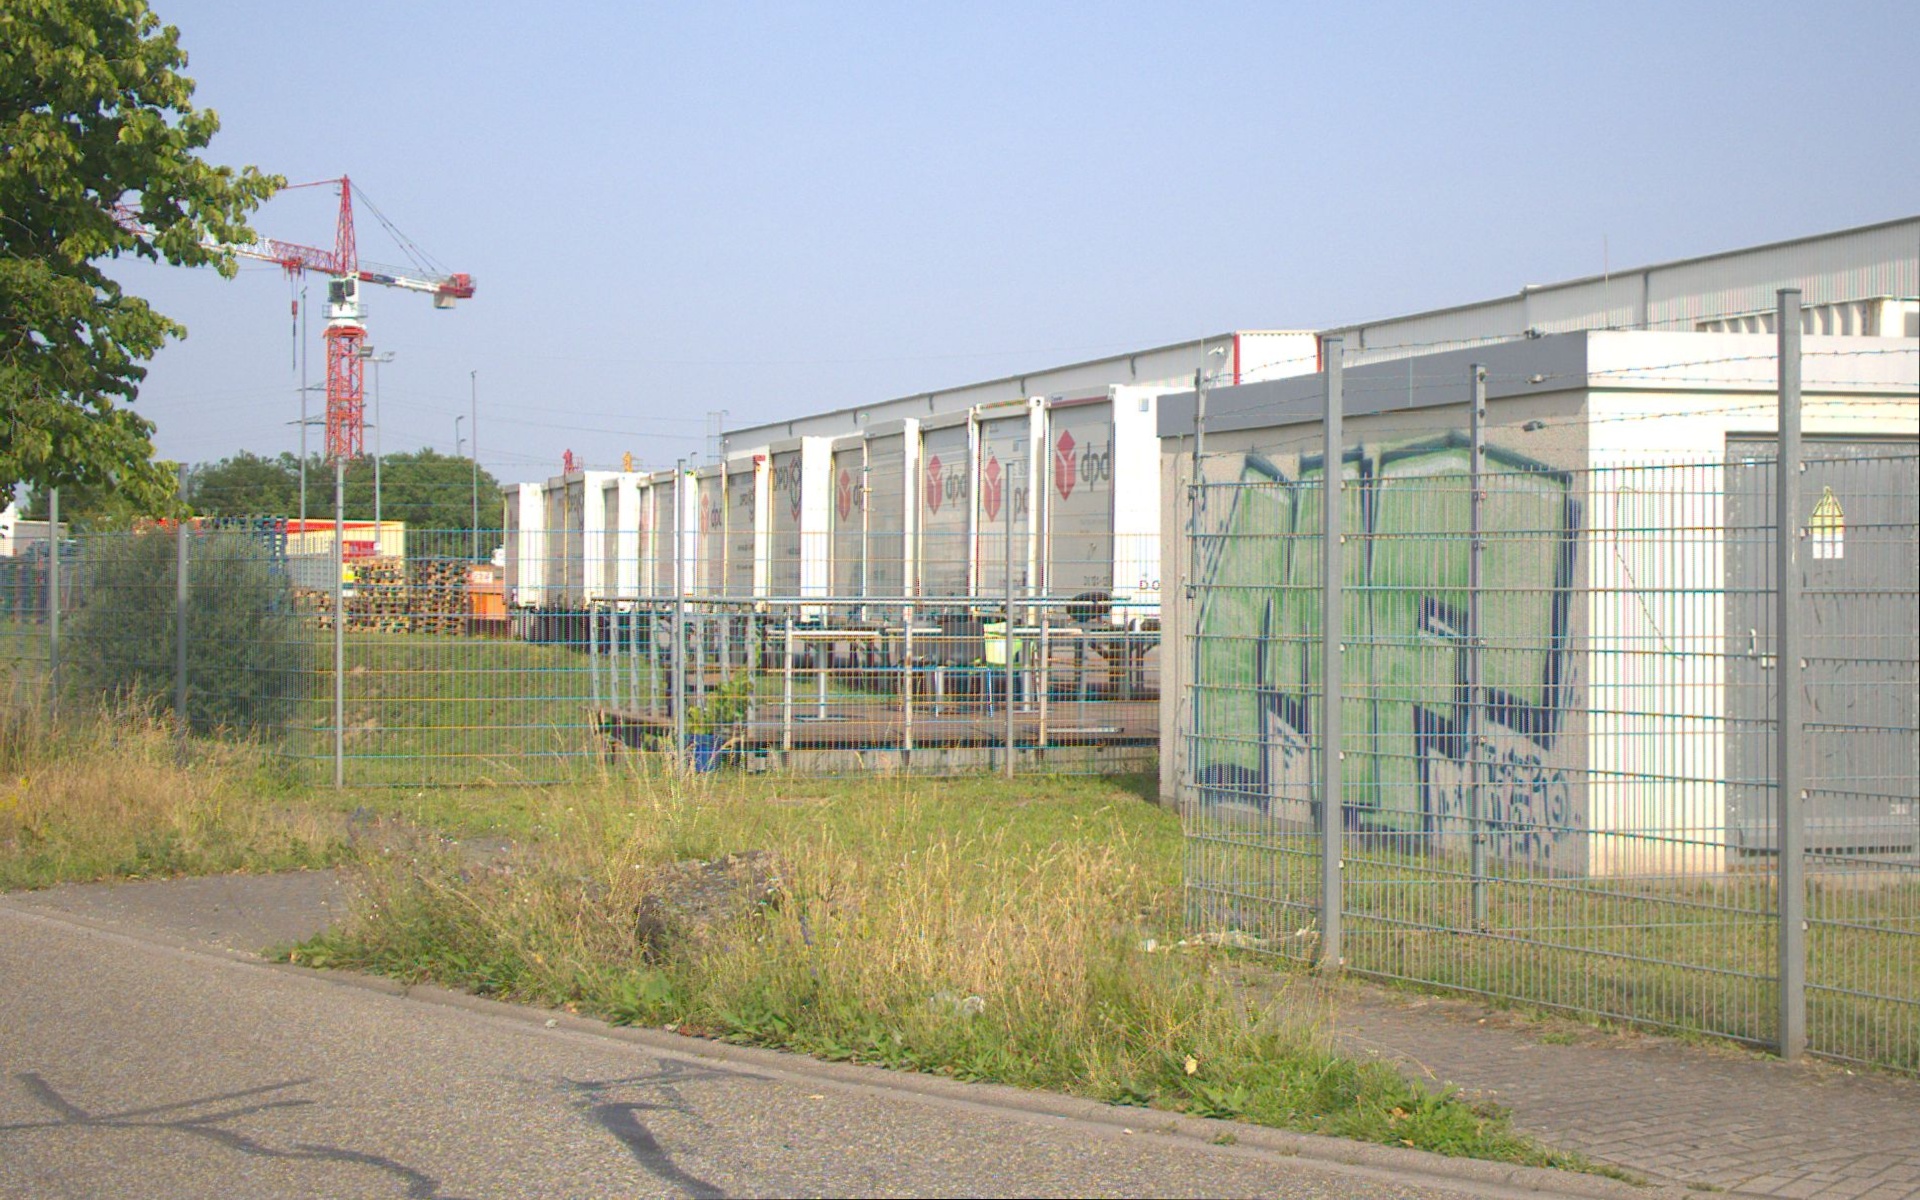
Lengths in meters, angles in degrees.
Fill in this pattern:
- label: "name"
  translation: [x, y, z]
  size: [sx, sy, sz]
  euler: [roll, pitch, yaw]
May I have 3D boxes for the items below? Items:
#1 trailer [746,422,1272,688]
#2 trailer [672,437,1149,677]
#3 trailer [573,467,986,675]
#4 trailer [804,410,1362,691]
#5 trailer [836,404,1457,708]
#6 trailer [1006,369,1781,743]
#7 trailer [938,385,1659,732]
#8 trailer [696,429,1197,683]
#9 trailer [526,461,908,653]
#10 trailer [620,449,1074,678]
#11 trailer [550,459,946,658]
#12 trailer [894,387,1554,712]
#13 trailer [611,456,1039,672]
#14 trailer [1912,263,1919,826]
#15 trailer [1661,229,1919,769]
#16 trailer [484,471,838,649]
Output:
- label: "trailer"
  translation: [0.788, -0.711, 56.191]
  size: [7.960, 3.880, 2.777]
  euler: [3, 0, -17]
- label: "trailer"
  translation: [-0.903, -0.752, 62.051]
  size: [7.960, 3.880, 2.777]
  euler: [3, 0, -17]
- label: "trailer"
  translation: [-3.758, -0.586, 71.419]
  size: [7.960, 3.880, 2.777]
  euler: [3, 0, -17]
- label: "trailer"
  translation: [1.903, -0.731, 53.411]
  size: [8.030, 3.880, 2.777]
  euler: [3, 0, -17]
- label: "trailer"
  translation: [2.674, -0.591, 49.507]
  size: [8.304, 3.880, 2.777]
  euler: [3, 0, -17]
- label: "trailer"
  translation: [5.117, -0.470, 40.617]
  size: [8.533, 3.880, 2.777]
  euler: [3, 0, -17]
- label: "trailer"
  translation: [4.298, -0.478, 43.657]
  size: [8.533, 3.880, 2.777]
  euler: [3, 0, -17]
- label: "trailer"
  translation: [-0.241, -0.729, 58.975]
  size: [7.960, 3.880, 2.777]
  euler: [3, 0, -17]
- label: "trailer"
  translation: [-5.475, -0.960, 77.348]
  size: [7.960, 3.880, 2.777]
  euler: [3, 0, -17]
- label: "trailer"
  translation: [-2.146, -0.669, 64.989]
  size: [7.960, 3.880, 2.777]
  euler: [3, 0, -17]
- label: "trailer"
  translation: [-4.613, -0.889, 74.543]
  size: [7.960, 3.880, 2.777]
  euler: [3, 0, -17]
- label: "trailer"
  translation: [3.572, -0.639, 46.575]
  size: [8.304, 3.880, 2.777]
  euler: [3, 0, -17]
- label: "trailer"
  translation: [-2.714, -0.699, 68.868]
  size: [7.960, 3.880, 2.777]
  euler: [3, 0, -17]
- label: "trailer"
  translation: [11.074, -0.377, 23.614]
  size: [8.533, 3.880, 2.777]
  euler: [0, 0, -16]
- label: "trailer"
  translation: [10.028, -0.620, 26.489]
  size: [8.729, 3.748, 2.791]
  euler: [1, 0, -17]
- label: "trailer"
  translation: [-7.239, -0.958, 83.122]
  size: [7.960, 3.880, 2.744]
  euler: [3, 0, -17]
